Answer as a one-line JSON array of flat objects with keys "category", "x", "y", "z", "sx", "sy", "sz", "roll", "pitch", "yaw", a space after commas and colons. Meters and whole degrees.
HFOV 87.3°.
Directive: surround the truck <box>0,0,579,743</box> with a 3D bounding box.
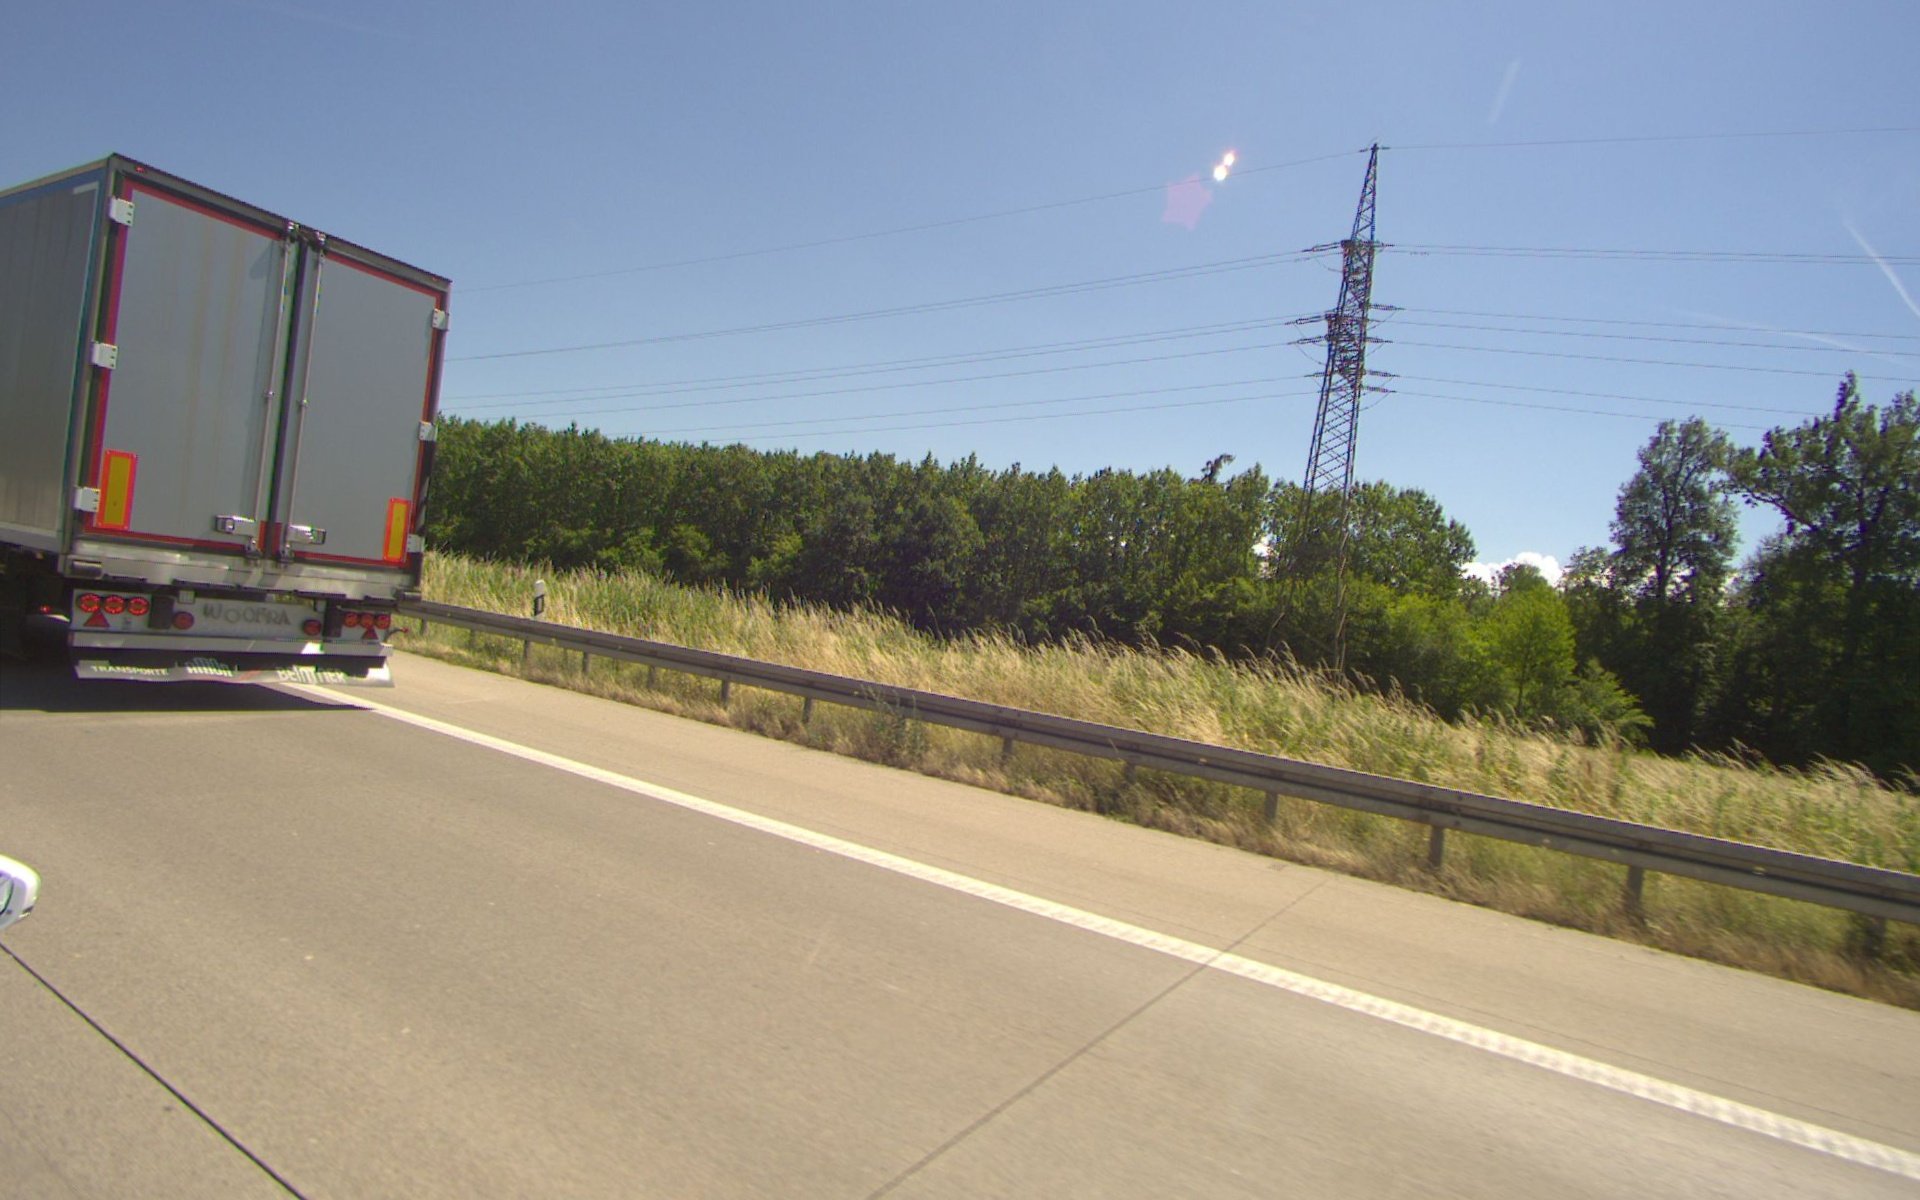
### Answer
[{"category": "truck", "x": -12.645, "y": -2.745, "z": 12.902, "sx": 17.942, "sy": 5.851, "sz": 3.587, "roll": 8, "pitch": -2, "yaw": 31}]
